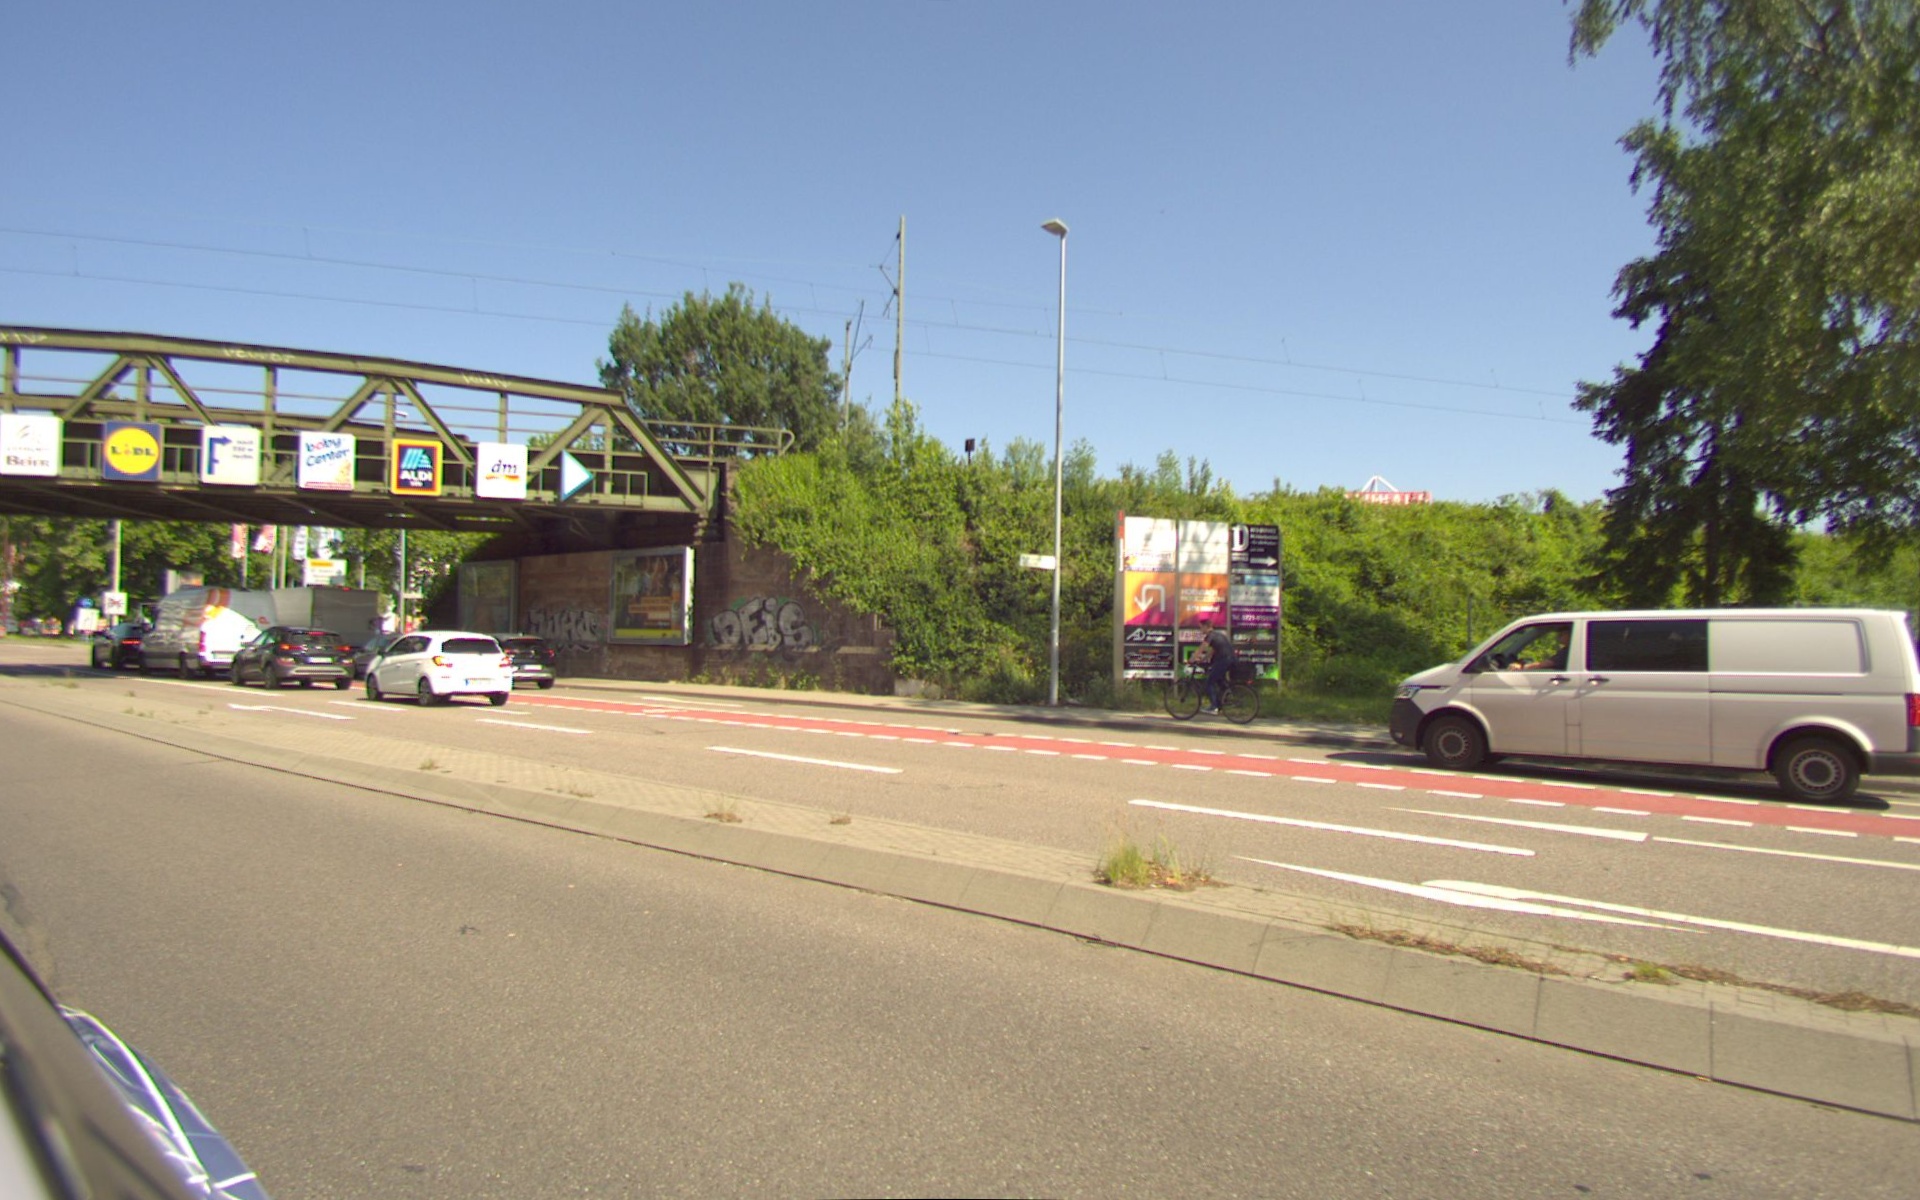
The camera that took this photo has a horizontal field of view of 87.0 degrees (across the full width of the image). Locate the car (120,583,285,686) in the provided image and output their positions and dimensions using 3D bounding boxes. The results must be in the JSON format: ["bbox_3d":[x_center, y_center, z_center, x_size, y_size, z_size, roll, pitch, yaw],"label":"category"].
[{"bbox_3d":[-23.031,1.070,30.640,6.926,2.827,1.975,-1,-5,37],"label":"car"}]

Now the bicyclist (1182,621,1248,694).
[{"bbox_3d":[4.507,1.008,17.865,0.950,1.237,0.626,-2,-4,43],"label":"bicyclist"}]

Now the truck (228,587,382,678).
[{"bbox_3d":[-24.439,1.218,37.658,7.054,3.112,2.320,-1,-3,36],"label":"truck"}]

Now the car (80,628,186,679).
[{"bbox_3d":[-29.380,1.866,35.906,4.945,1.694,1.973,-1,-3,40],"label":"car"}]

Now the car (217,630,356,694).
[{"bbox_3d":[-17.291,1.604,25.932,4.172,1.506,1.751,-3,-5,39],"label":"car"}]

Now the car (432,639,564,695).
[{"bbox_3d":[-13.285,1.916,29.020,4.172,1.506,1.751,-3,-5,39],"label":"car"}]

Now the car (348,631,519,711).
[{"bbox_3d":[-10.864,1.447,20.806,3.823,1.506,1.627,-3,-5,38],"label":"car"}]

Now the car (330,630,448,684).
[{"bbox_3d":[-19.186,1.937,33.949,4.282,1.703,1.964,-3,-5,39],"label":"car"}]

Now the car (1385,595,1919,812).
[{"bbox_3d":[7.955,1.050,11.630,5.341,2.029,1.973,-1,-4,40],"label":"car"}]

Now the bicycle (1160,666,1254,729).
[{"bbox_3d":[4.381,1.719,18.024,1.615,1.035,0.441,-2,-4,43],"label":"bicycle"}]
